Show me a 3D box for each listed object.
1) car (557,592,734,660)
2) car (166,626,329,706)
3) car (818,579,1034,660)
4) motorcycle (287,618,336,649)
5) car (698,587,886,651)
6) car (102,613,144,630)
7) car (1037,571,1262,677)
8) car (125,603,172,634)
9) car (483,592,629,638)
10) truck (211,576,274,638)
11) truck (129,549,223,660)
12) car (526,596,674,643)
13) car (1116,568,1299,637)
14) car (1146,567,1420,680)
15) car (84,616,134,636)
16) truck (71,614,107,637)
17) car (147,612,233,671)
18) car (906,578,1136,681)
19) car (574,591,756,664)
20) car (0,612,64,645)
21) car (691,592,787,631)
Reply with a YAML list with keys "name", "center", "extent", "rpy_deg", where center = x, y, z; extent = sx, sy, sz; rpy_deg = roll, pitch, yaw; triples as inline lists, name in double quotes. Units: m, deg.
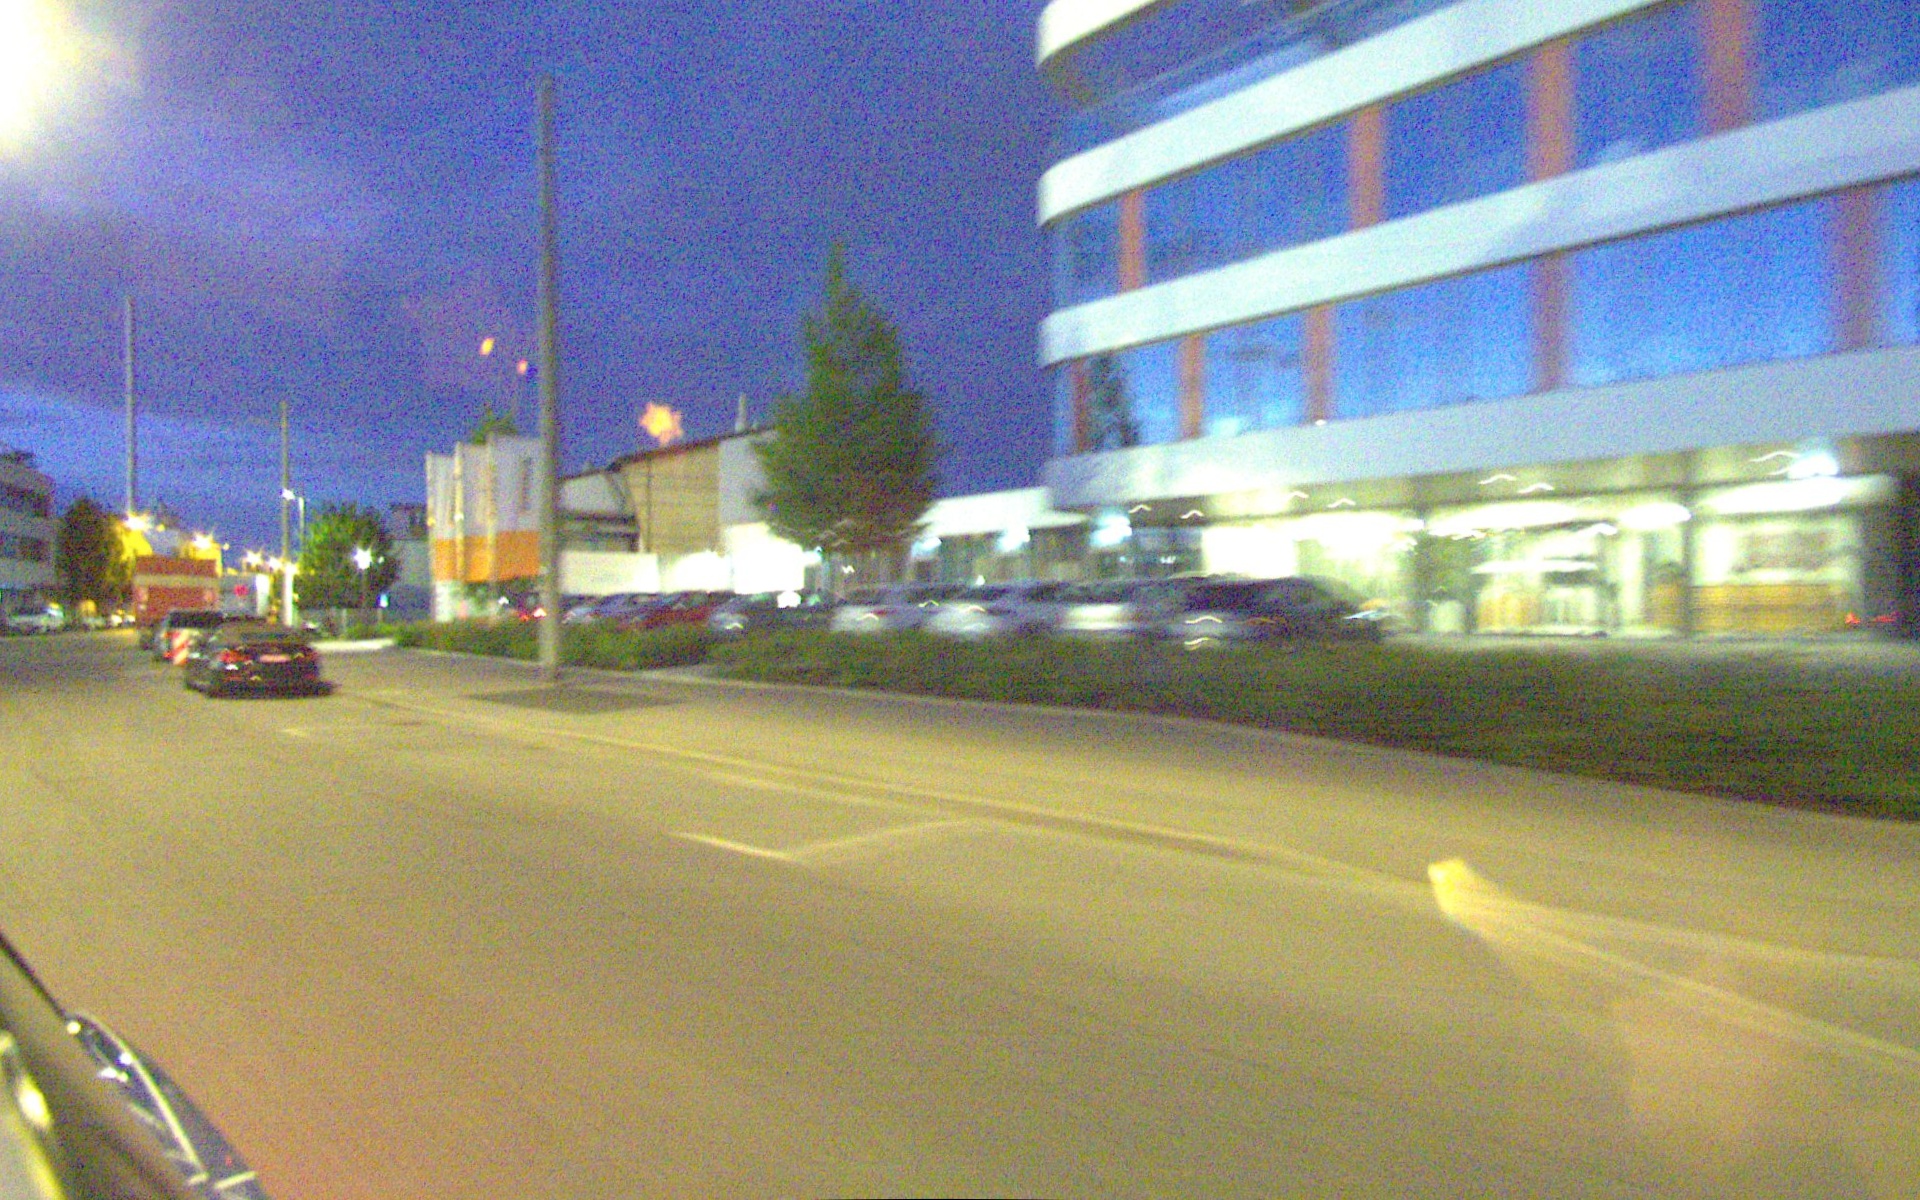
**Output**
- name: "car"
  center: [-9.143, 0.701, 29.693]
  extent: [1.963, 1.829, 4.555]
  rpy_deg: [-1, 0, 45]
- name: "car"
  center: [-14.035, 1.215, 19.841]
  extent: [4.362, 1.382, 1.794]
  rpy_deg: [-1, -3, 44]
- name: "car"
  center: [-0.606, 0.349, 20.767]
  extent: [1.852, 1.490, 4.354]
  rpy_deg: [-1, 0, 45]
- name: "motorcycle"
  center: [-26.539, 1.350, 41.446]
  extent: [0.528, 1.109, 1.680]
  rpy_deg: [0, 3, 22]
- name: "car"
  center: [-3.997, 0.407, 24.551]
  extent: [1.828, 1.404, 4.218]
  rpy_deg: [-1, 0, 45]
- name: "car"
  center: [-71.202, 1.825, 86.122]
  extent: [1.744, 1.423, 4.565]
  rpy_deg: [-1, -1, -26]
- name: "car"
  center: [3.350, 0.353, 17.417]
  extent: [1.842, 1.591, 4.085]
  rpy_deg: [-1, 0, 44]
- name: "car"
  center: [-73.922, 1.660, 92.304]
  extent: [1.966, 2.544, 5.928]
  rpy_deg: [-4, 1, -26]
- name: "car"
  center: [-14.144, 0.502, 35.591]
  extent: [1.893, 1.493, 4.354]
  rpy_deg: [-1, 0, 45]
- name: "truck"
  center: [-50.118, 0.511, 70.923]
  extent: [2.708, 4.064, 9.589]
  rpy_deg: [-1, 0, -30]
- name: "truck"
  center: [-32.561, 0.207, 42.288]
  extent: [2.735, 4.151, 9.363]
  rpy_deg: [0, -1, -36]
- name: "car"
  center: [-12.132, 0.632, 34.272]
  extent: [1.829, 1.463, 4.354]
  rpy_deg: [-1, 0, 45]
- name: "car"
  center: [6.383, 0.067, 26.421]
  extent: [1.971, 1.654, 4.205]
  rpy_deg: [-2, 0, -44]
- name: "car"
  center: [5.018, 0.291, 15.419]
  extent: [4.395, 1.463, 2.063]
  rpy_deg: [-1, 0, -42]
- name: "car"
  center: [-67.613, 2.069, 80.489]
  extent: [1.919, 1.500, 5.026]
  rpy_deg: [-1, -1, -26]
- name: "truck"
  center: [-65.650, 1.927, 76.330]
  extent: [1.351, 1.657, 3.824]
  rpy_deg: [0, 0, -30]
- name: "car"
  center: [-22.961, 1.175, 30.107]
  extent: [1.843, 1.605, 4.502]
  rpy_deg: [-1, 0, -40]
- name: "car"
  center: [1.238, 0.469, 18.891]
  extent: [1.962, 1.693, 4.356]
  rpy_deg: [-1, 0, 43]
- name: "car"
  center: [-7.924, 0.691, 27.430]
  extent: [1.963, 1.829, 4.354]
  rpy_deg: [-1, -1, 45]
- name: "car"
  center: [-58.403, 1.754, 63.663]
  extent: [1.965, 2.029, 4.927]
  rpy_deg: [0, -1, -29]
- name: "car"
  center: [-9.304, 0.479, 42.442]
  extent: [1.880, 1.468, 4.468]
  rpy_deg: [-2, 1, -43]
